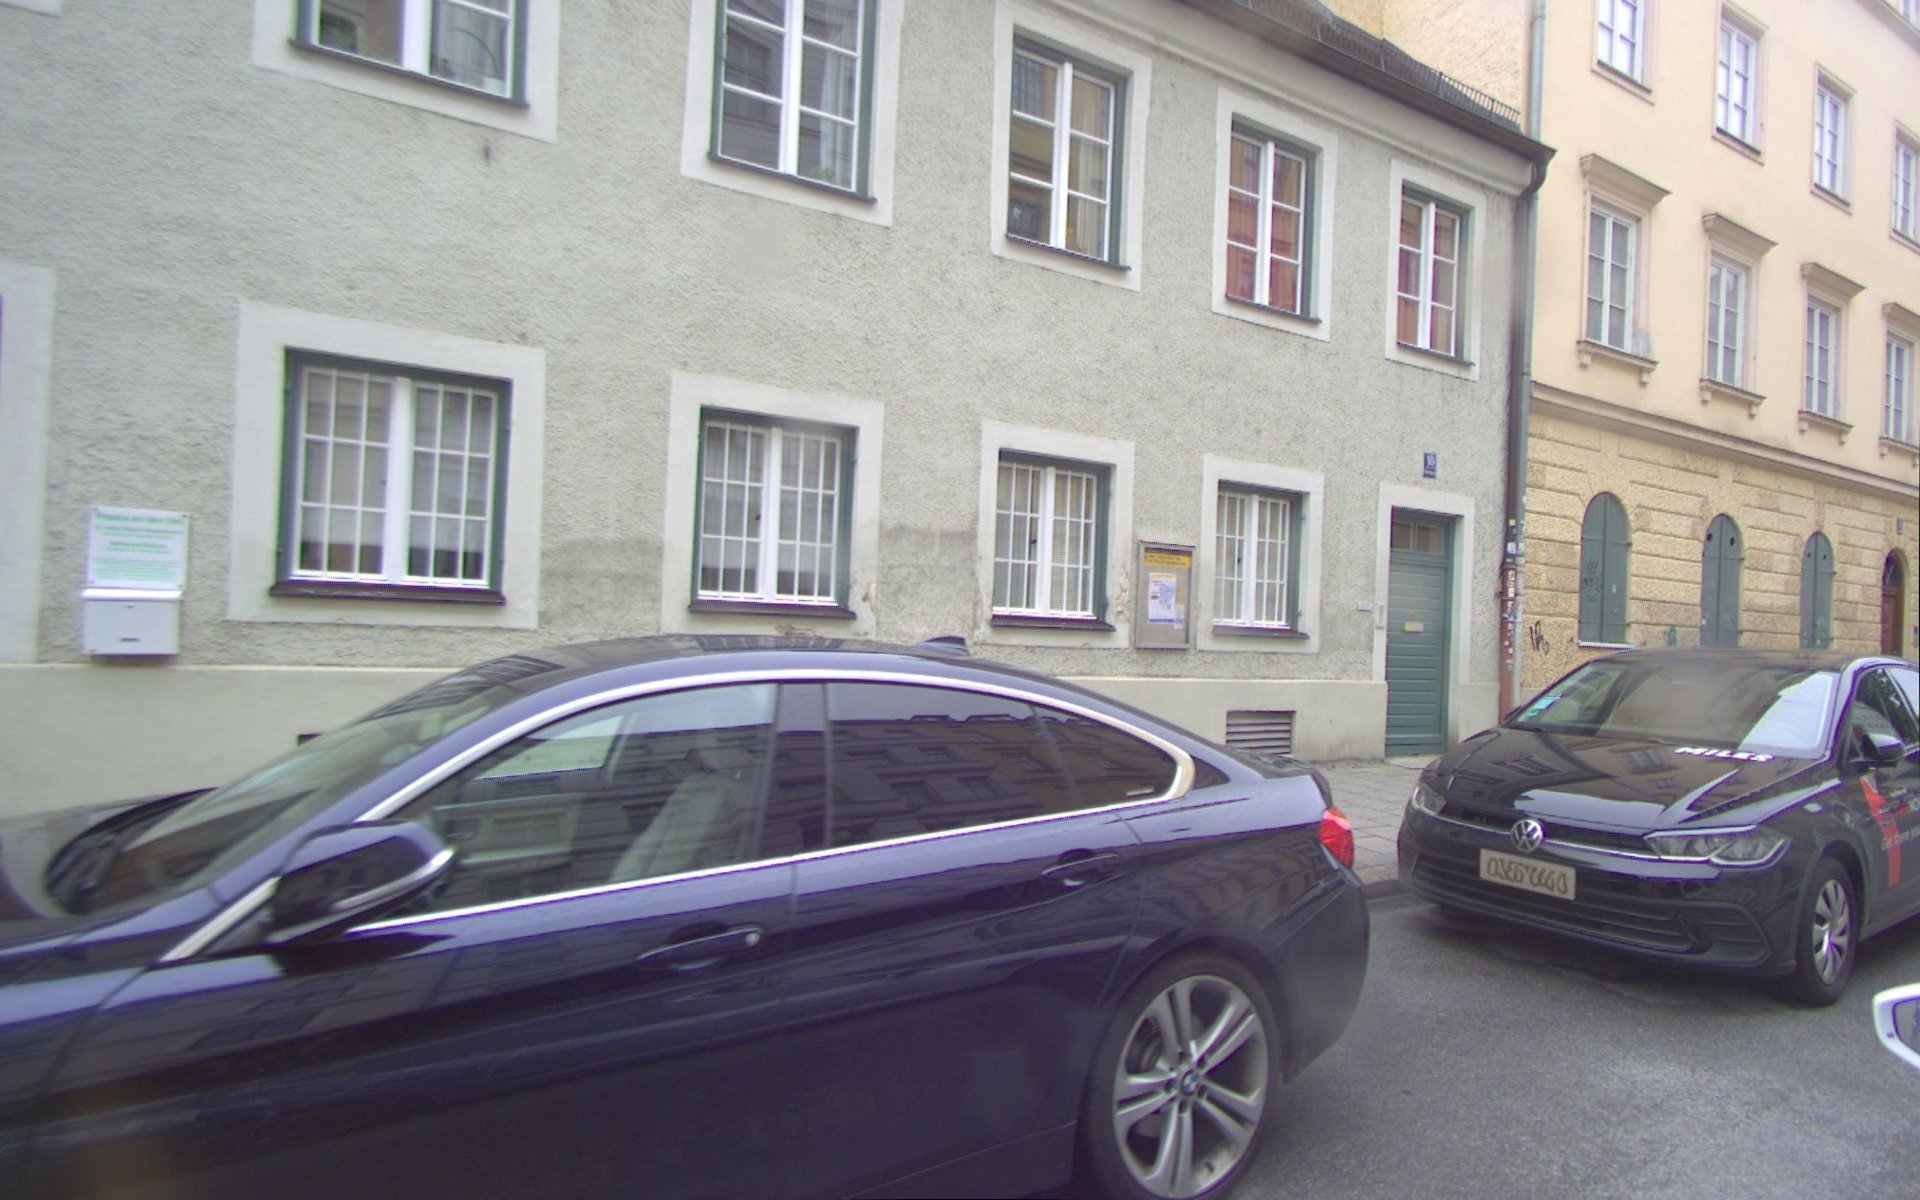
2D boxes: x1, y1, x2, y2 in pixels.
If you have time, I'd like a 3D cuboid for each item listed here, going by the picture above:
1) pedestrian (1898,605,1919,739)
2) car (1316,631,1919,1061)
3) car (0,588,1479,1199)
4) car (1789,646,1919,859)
[{"bbox_3d":[15.090,1.114,15.407,0.740,2.040,0.802,2,-1,-28],"label":"pedestrian"},{"bbox_3d":[4.085,0.964,5.454,4.224,1.420,1.846,2,0,-33],"label":"car"},{"bbox_3d":[-0.820,0.751,2.618,4.219,1.420,1.849,2,0,-30],"label":"car"},{"bbox_3d":[8.487,1.146,7.796,4.221,1.420,1.848,2,0,-31],"label":"car"}]
